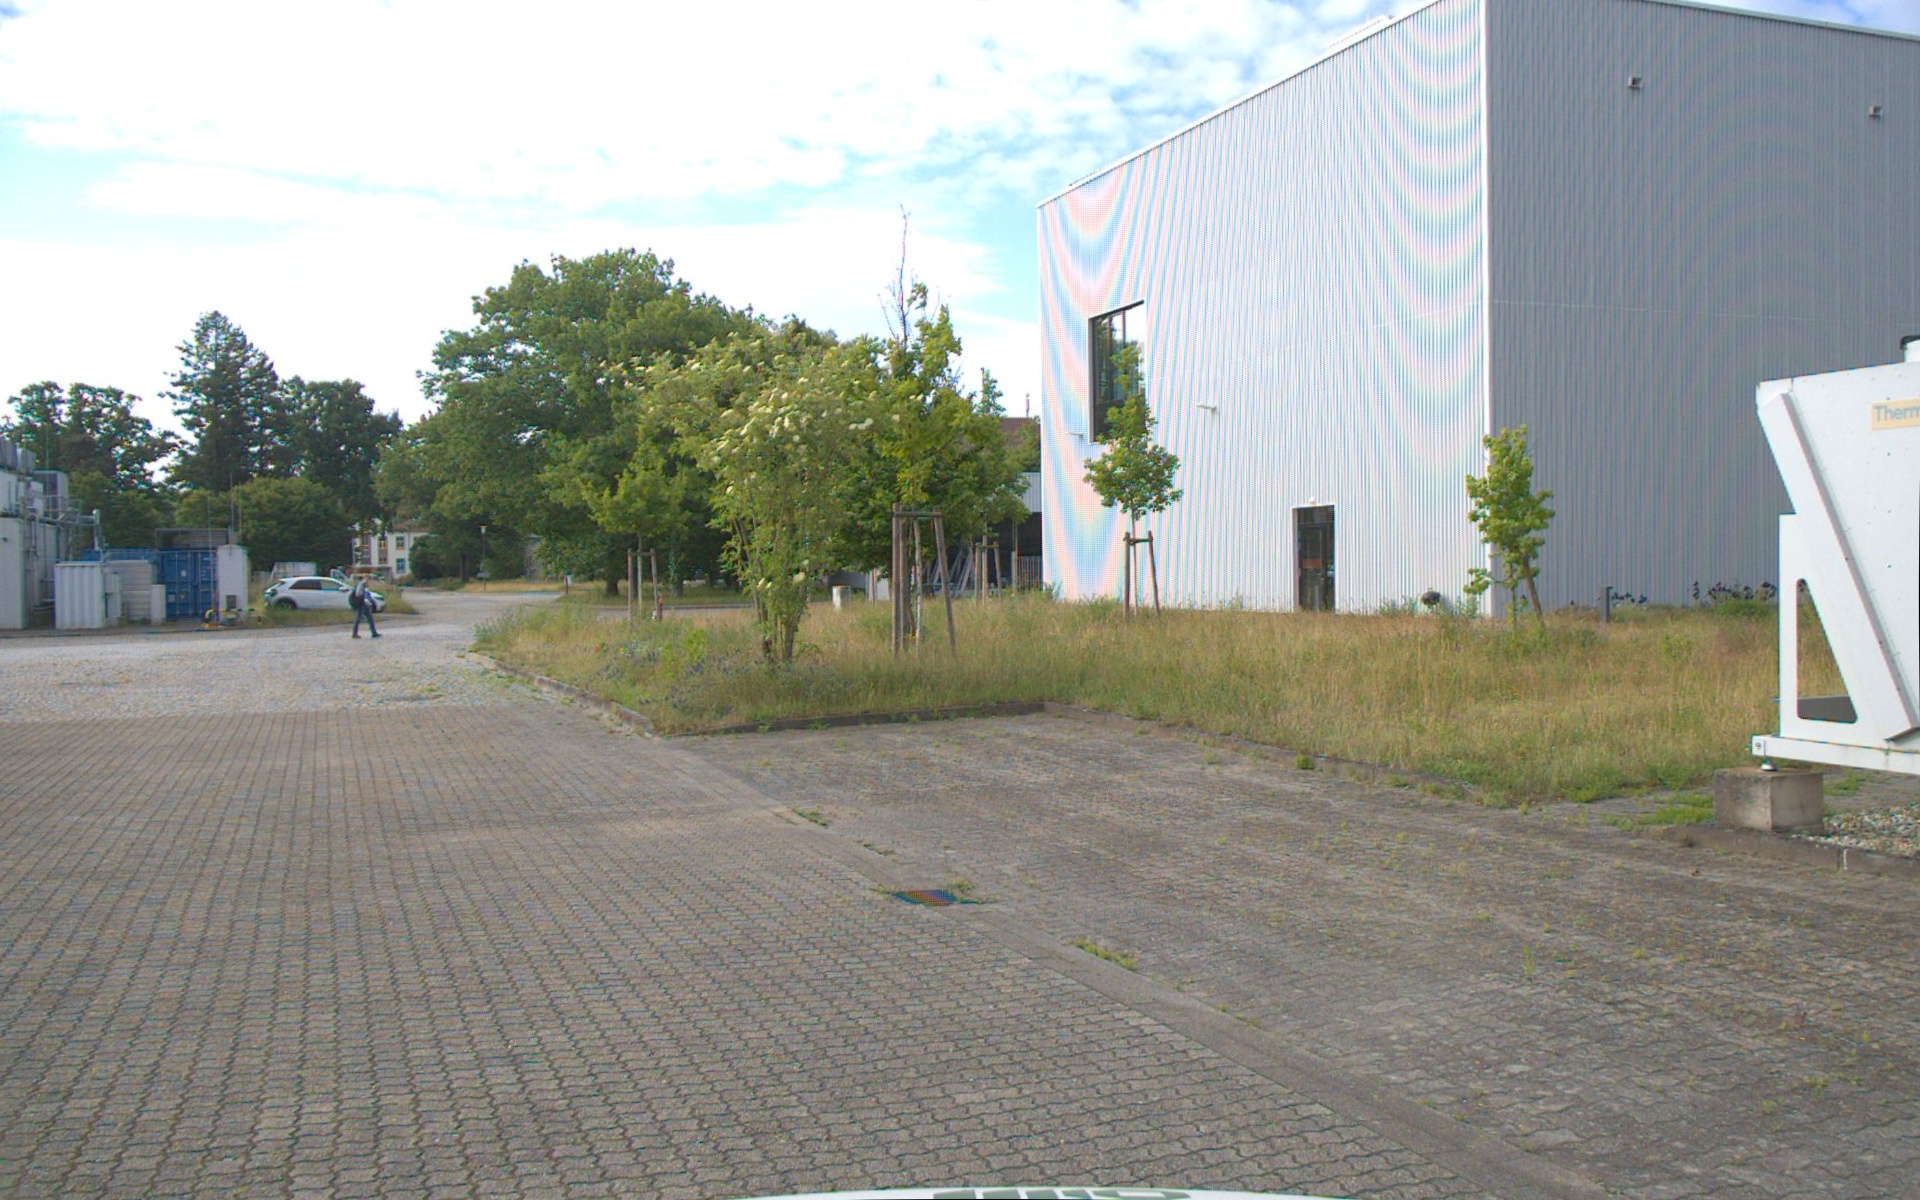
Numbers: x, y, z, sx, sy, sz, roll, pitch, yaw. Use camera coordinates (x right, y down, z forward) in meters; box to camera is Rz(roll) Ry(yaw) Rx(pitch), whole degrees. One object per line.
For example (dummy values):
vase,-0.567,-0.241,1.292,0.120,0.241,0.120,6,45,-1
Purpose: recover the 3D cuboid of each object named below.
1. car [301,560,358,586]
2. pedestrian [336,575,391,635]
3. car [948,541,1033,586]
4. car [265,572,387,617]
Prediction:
car,-61.322,-2.638,160.868,5.098,2.378,1.987,-2,1,-22
pedestrian,-16.401,0.136,45.509,1.053,1.583,1.075,-1,1,2
car,1.435,-1.772,80.283,2.210,2.048,5.301,-2,2,-22
car,-25.436,-0.254,66.522,4.466,1.627,1.989,-2,1,-19
